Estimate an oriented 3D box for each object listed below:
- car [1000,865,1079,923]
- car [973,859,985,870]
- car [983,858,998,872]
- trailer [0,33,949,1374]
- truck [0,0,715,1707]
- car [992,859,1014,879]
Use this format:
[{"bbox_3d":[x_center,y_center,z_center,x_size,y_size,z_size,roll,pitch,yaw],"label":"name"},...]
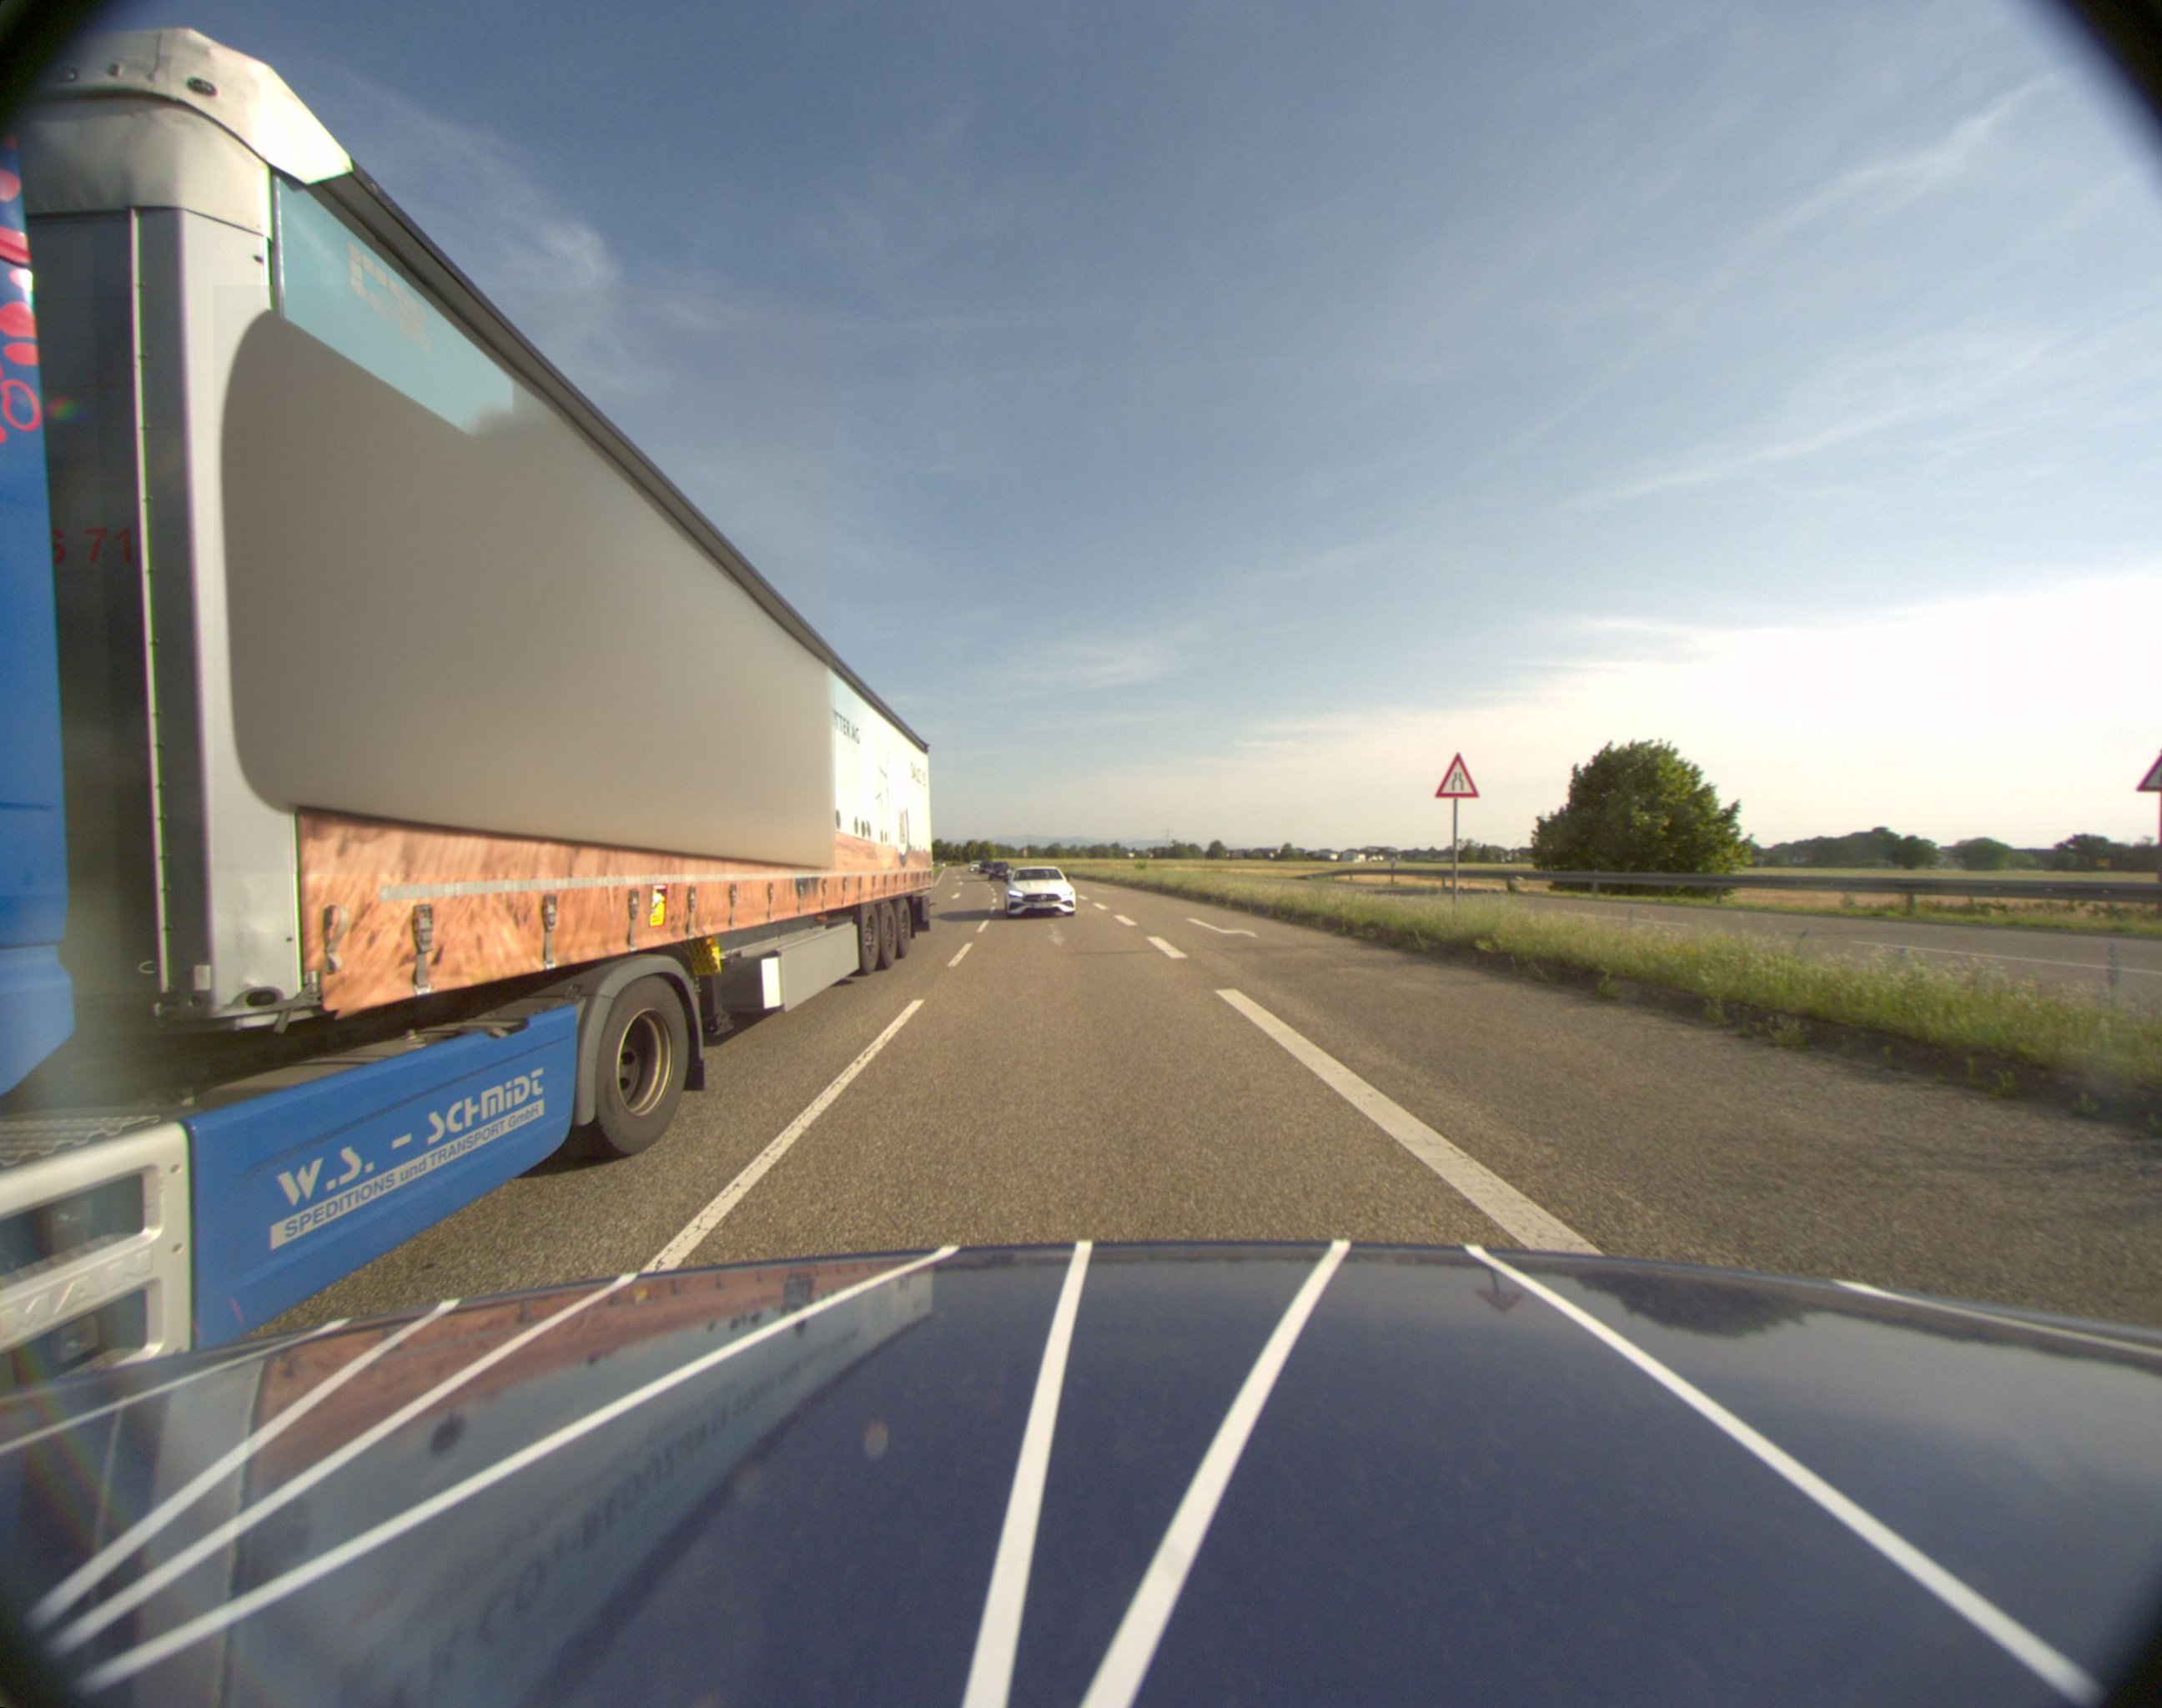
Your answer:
[{"bbox_3d":[-1.278,1.074,21.820,1.942,1.389,3.916,-2,0,-7],"label":"car"},{"bbox_3d":[-13.746,1.397,102.979,1.558,1.391,4.033,-1,0,-7],"label":"car"},{"bbox_3d":[-10.155,1.236,85.175,1.558,1.550,3.047,-1,0,-7],"label":"car"},{"bbox_3d":[-4.192,-0.514,9.206,3.290,4.654,13.143,-2,0,-3],"label":"trailer"},{"bbox_3d":[-3.881,-0.514,1.747,3.309,4.630,5.730,-2,0,-2],"label":"truck"},{"bbox_3d":[-6.208,1.159,60.149,1.585,1.496,3.658,-1,0,-7],"label":"car"}]
